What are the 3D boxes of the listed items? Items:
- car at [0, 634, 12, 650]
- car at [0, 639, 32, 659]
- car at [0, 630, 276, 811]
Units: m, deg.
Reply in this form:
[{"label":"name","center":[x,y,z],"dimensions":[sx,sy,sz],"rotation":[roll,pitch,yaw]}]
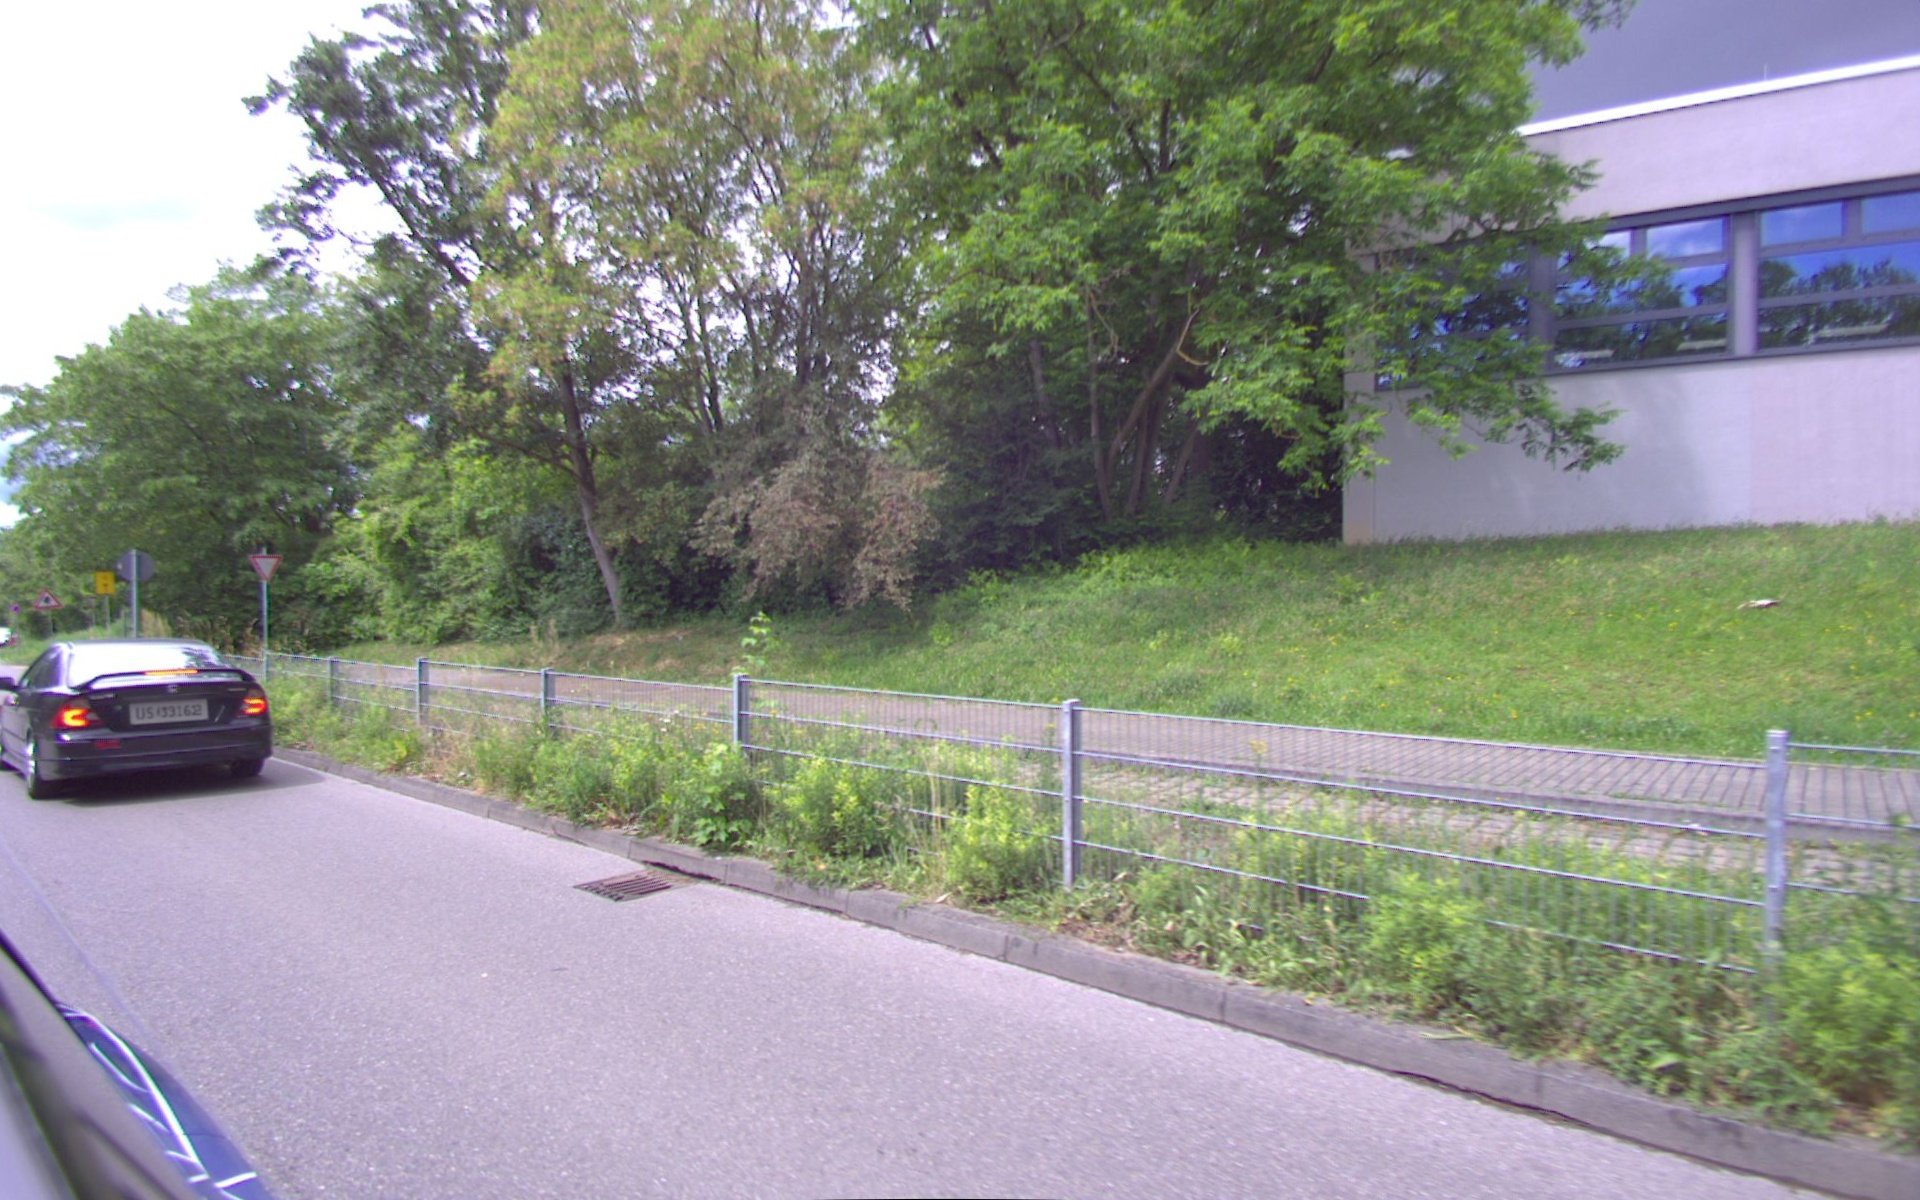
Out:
[{"label":"car","center":[-94.350,4.099,98.536],"dimensions":[1.836,1.488,4.917],"rotation":[3,-2,-29]},{"label":"car","center":[-81.454,4.221,87.291],"dimensions":[1.819,1.671,4.229],"rotation":[1,-3,-39]},{"label":"car","center":[-8.159,0.991,9.771],"dimensions":[4.093,1.359,1.675],"rotation":[-2,-2,42]}]
